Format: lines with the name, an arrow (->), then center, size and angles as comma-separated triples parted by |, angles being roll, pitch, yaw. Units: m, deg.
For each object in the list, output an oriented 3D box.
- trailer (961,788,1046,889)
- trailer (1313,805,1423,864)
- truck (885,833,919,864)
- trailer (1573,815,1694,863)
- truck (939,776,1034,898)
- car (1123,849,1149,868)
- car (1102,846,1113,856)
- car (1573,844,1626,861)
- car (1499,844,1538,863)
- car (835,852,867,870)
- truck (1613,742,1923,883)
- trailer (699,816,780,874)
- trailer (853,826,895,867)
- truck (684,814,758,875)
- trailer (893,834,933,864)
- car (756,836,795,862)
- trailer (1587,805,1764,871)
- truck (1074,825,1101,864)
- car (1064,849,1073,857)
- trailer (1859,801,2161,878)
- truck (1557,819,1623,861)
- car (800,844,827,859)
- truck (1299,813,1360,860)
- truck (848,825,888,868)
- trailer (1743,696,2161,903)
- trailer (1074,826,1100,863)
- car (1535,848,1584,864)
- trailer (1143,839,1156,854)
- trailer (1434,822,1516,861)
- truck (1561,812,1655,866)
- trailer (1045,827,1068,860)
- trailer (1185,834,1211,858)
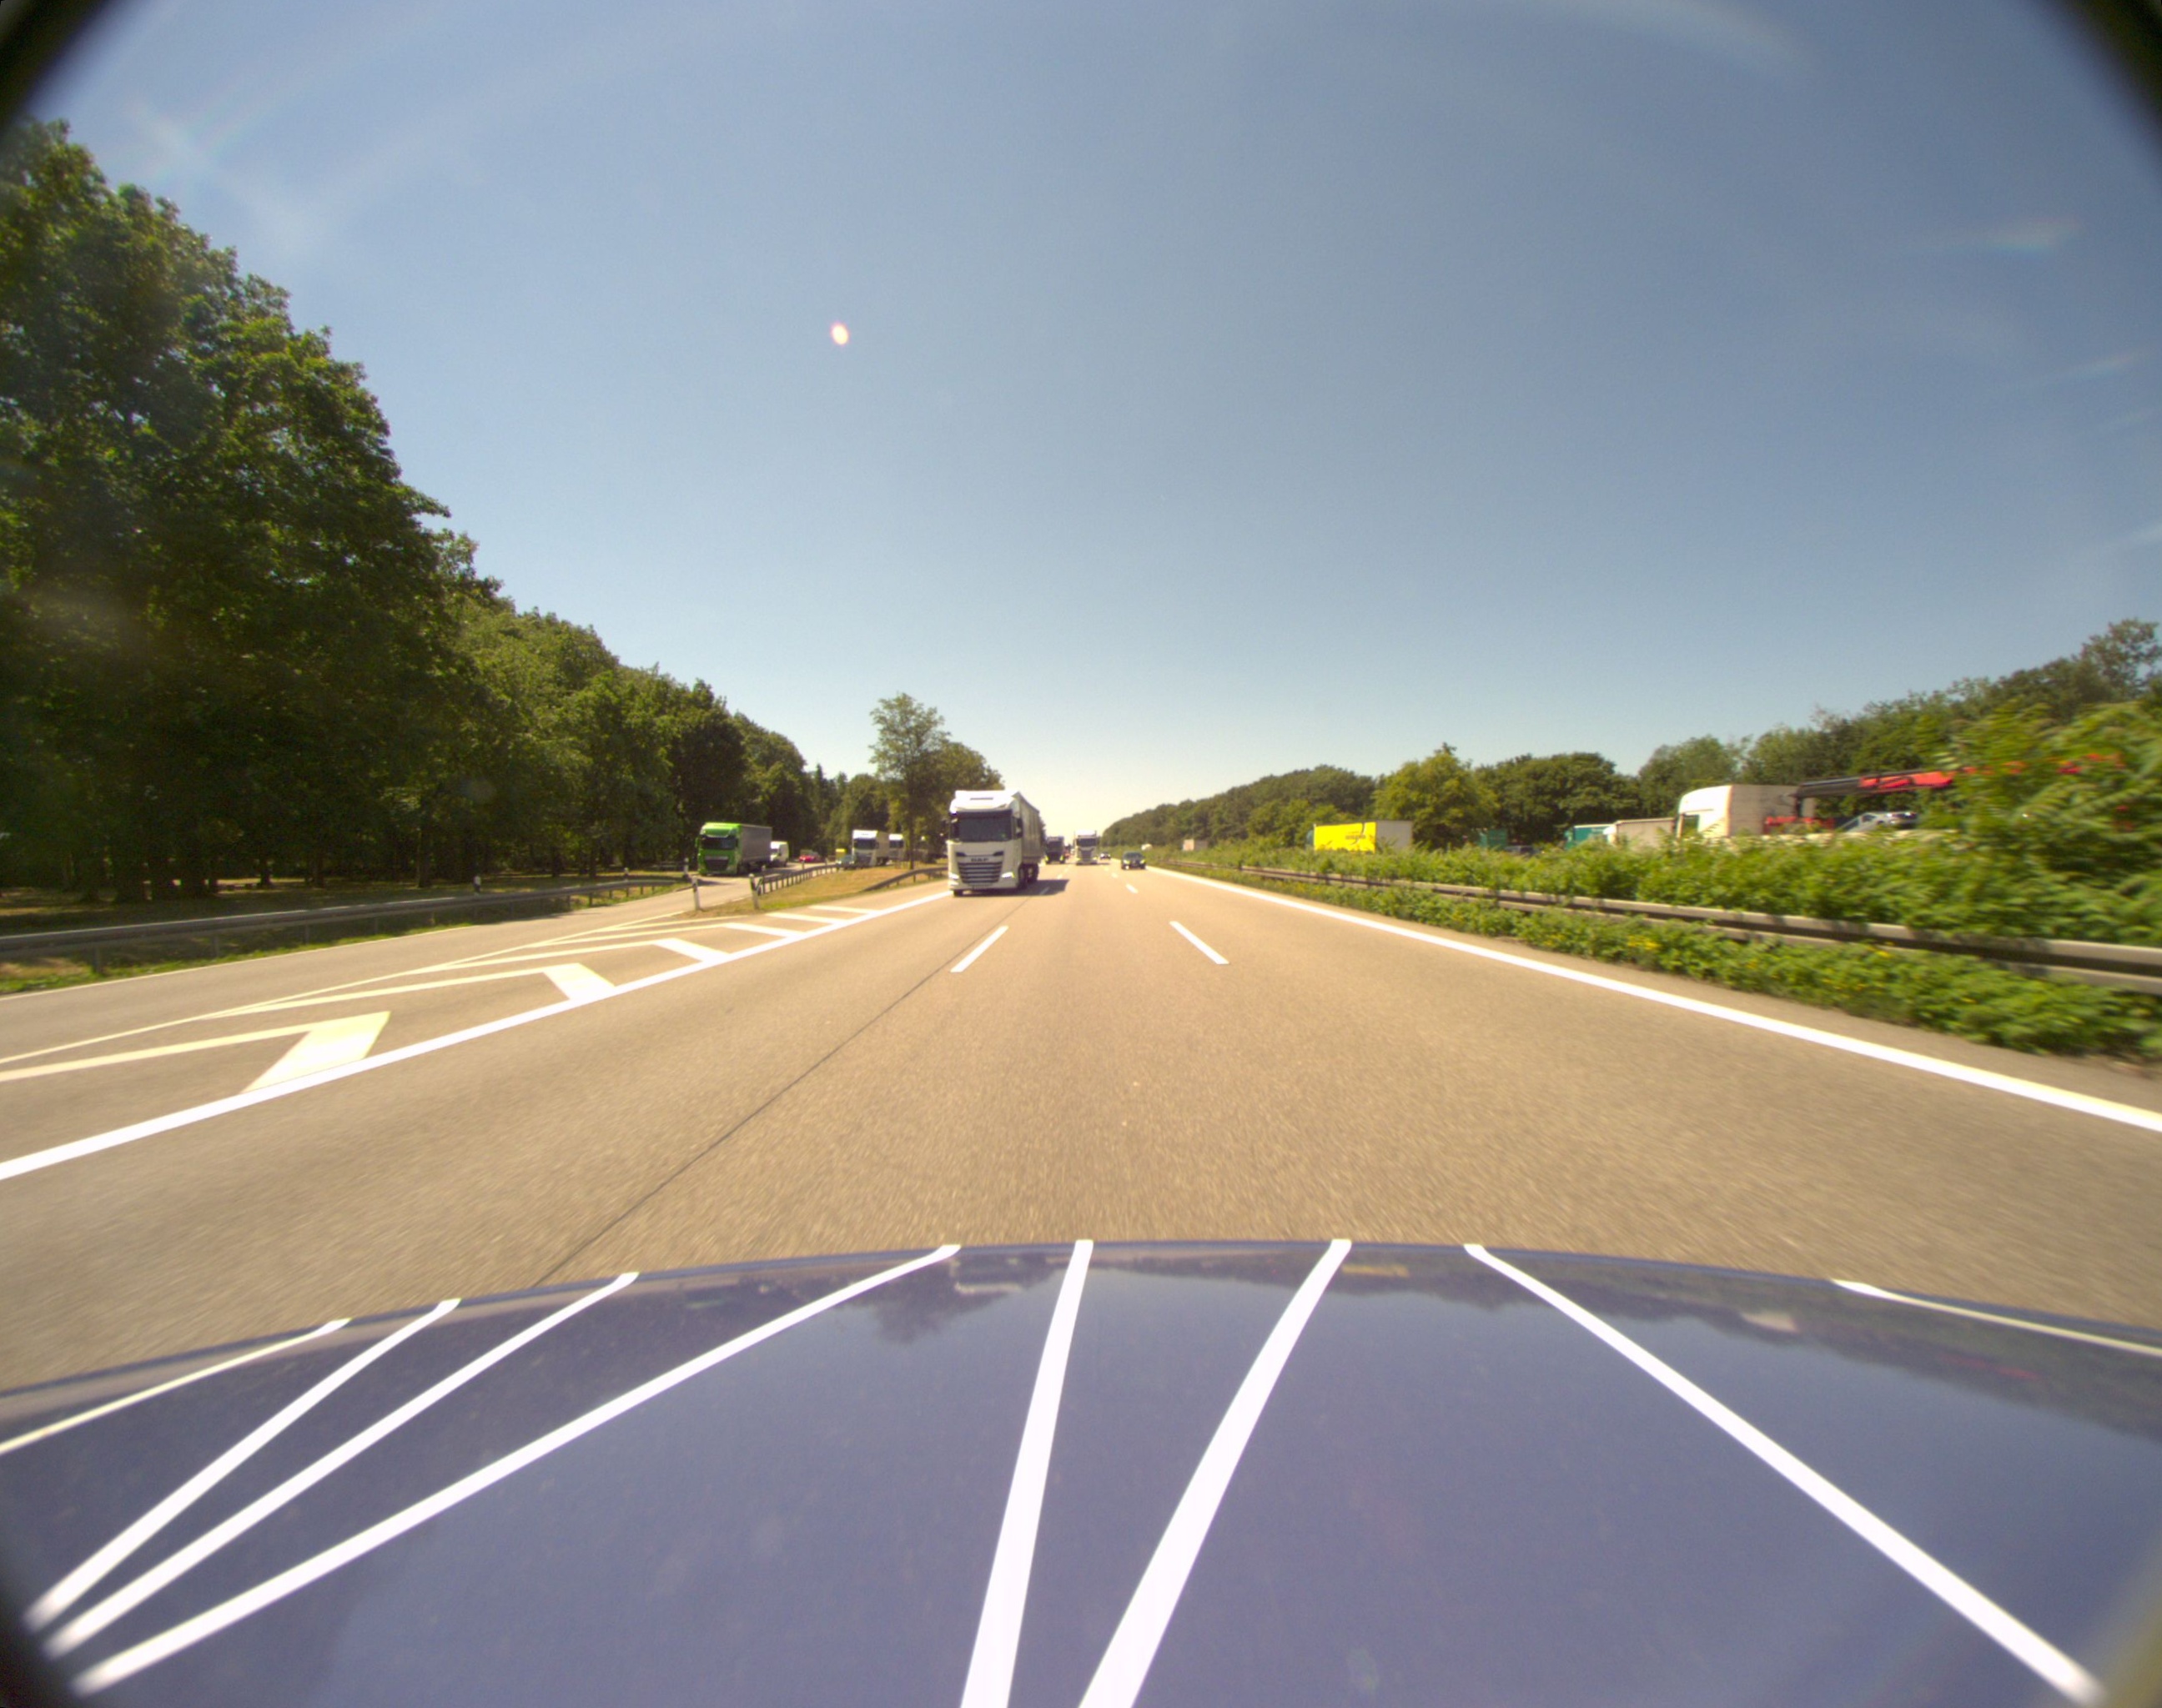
trailer -> -3.665, -0.738, 40.069 | 2.863, 4.247, 14.977 | -2, 1, 0
trailer -> 21.261, -1.391, 57.647 | 3.206, 3.803, 14.022 | -2, 1, 1
truck -> -26.543, -0.781, 113.135 | 3.393, 4.437, 8.230 | -1, 1, -3
trailer -> 56.986, -1.480, 79.110 | 3.608, 4.565, 14.028 | 0, 1, 6
truck -> -3.573, -0.634, 30.601 | 2.863, 4.247, 6.862 | -2, 1, 0
car -> 4.473, 0.380, 62.647 | 1.811, 1.399, 4.000 | -3, 0, 0
car -> 4.725, -0.493, 135.329 | 1.806, 1.774, 3.999 | -1, 1, 1
car -> 48.601, -0.157, 71.334 | 1.805, 1.457, 4.453 | 0, 1, -3
car -> 48.558, -0.088, 84.475 | 1.997, 2.002, 4.725 | 0, 1, 6
car -> -22.912, 0.637, 75.742 | 1.999, 1.700, 4.677 | 1, 1, -3
truck -> 20.375, -1.112, 23.321 | 3.206, 3.559, 6.995 | -2, 1, 1
trailer -> -28.356, -0.699, 63.852 | 3.395, 4.234, 13.130 | -2, 1, -12
trailer -> -24.890, -0.843, 92.061 | 3.395, 4.437, 14.346 | -2, 1, -10
truck -> -26.909, -0.677, 57.161 | 3.395, 4.234, 6.609 | -2, 1, -12
trailer -> -27.074, -0.868, 123.551 | 3.393, 4.437, 18.119 | -1, 1, -3
car -> -31.062, -0.513, 77.548 | 2.315, 2.568, 6.642 | 1, 1, -10
trailer -> 42.942, -1.145, 55.970 | 3.222, 4.112, 14.054 | -2, 1, 6
truck -> 0.722, -1.112, 88.340 | 2.863, 4.247, 5.410 | -2, 1, 0
car -> -2.584, -0.227, 155.405 | 1.811, 1.613, 3.999 | -1, 1, 0
trailer -> 51.300, -0.739, 42.561 | 3.606, 3.635, 14.035 | 0, 1, 12
truck -> 57.763, -1.540, 86.482 | 3.608, 4.565, 6.599 | 0, 1, 6
car -> -33.203, -0.290, 94.346 | 2.147, 1.743, 4.865 | 1, 1, -7
truck -> 21.425, -1.490, 65.824 | 3.206, 3.803, 6.394 | -2, 1, 1
truck -> -23.576, -0.806, 84.565 | 3.395, 4.438, 7.382 | -2, 1, -10
trailer -> 20.224, -0.995, 13.458 | 3.206, 3.559, 15.966 | -2, 1, 1
trailer -> 0.749, -1.182, 94.415 | 2.863, 4.247, 11.470 | -2, 1, 0
car -> 48.131, 0.200, 76.480 | 1.806, 1.596, 4.180 | 0, 1, -11
trailer -> 20.629, -2.208, 229.848 | 2.889, 4.239, 10.838 | 0, 1, 0
trailer -> 50.365, -1.555, 97.809 | 3.609, 4.565, 14.023 | 0, 1, 2
truck -> 43.717, -1.258, 63.418 | 3.222, 4.112, 7.394 | -2, 1, 6
trailer -> -3.261, -1.395, 103.266 | 2.863, 4.247, 11.469 | -1, 1, 0
trailer -> 21.536, -1.493, 140.642 | 2.910, 4.247, 11.487 | -2, 1, 0
